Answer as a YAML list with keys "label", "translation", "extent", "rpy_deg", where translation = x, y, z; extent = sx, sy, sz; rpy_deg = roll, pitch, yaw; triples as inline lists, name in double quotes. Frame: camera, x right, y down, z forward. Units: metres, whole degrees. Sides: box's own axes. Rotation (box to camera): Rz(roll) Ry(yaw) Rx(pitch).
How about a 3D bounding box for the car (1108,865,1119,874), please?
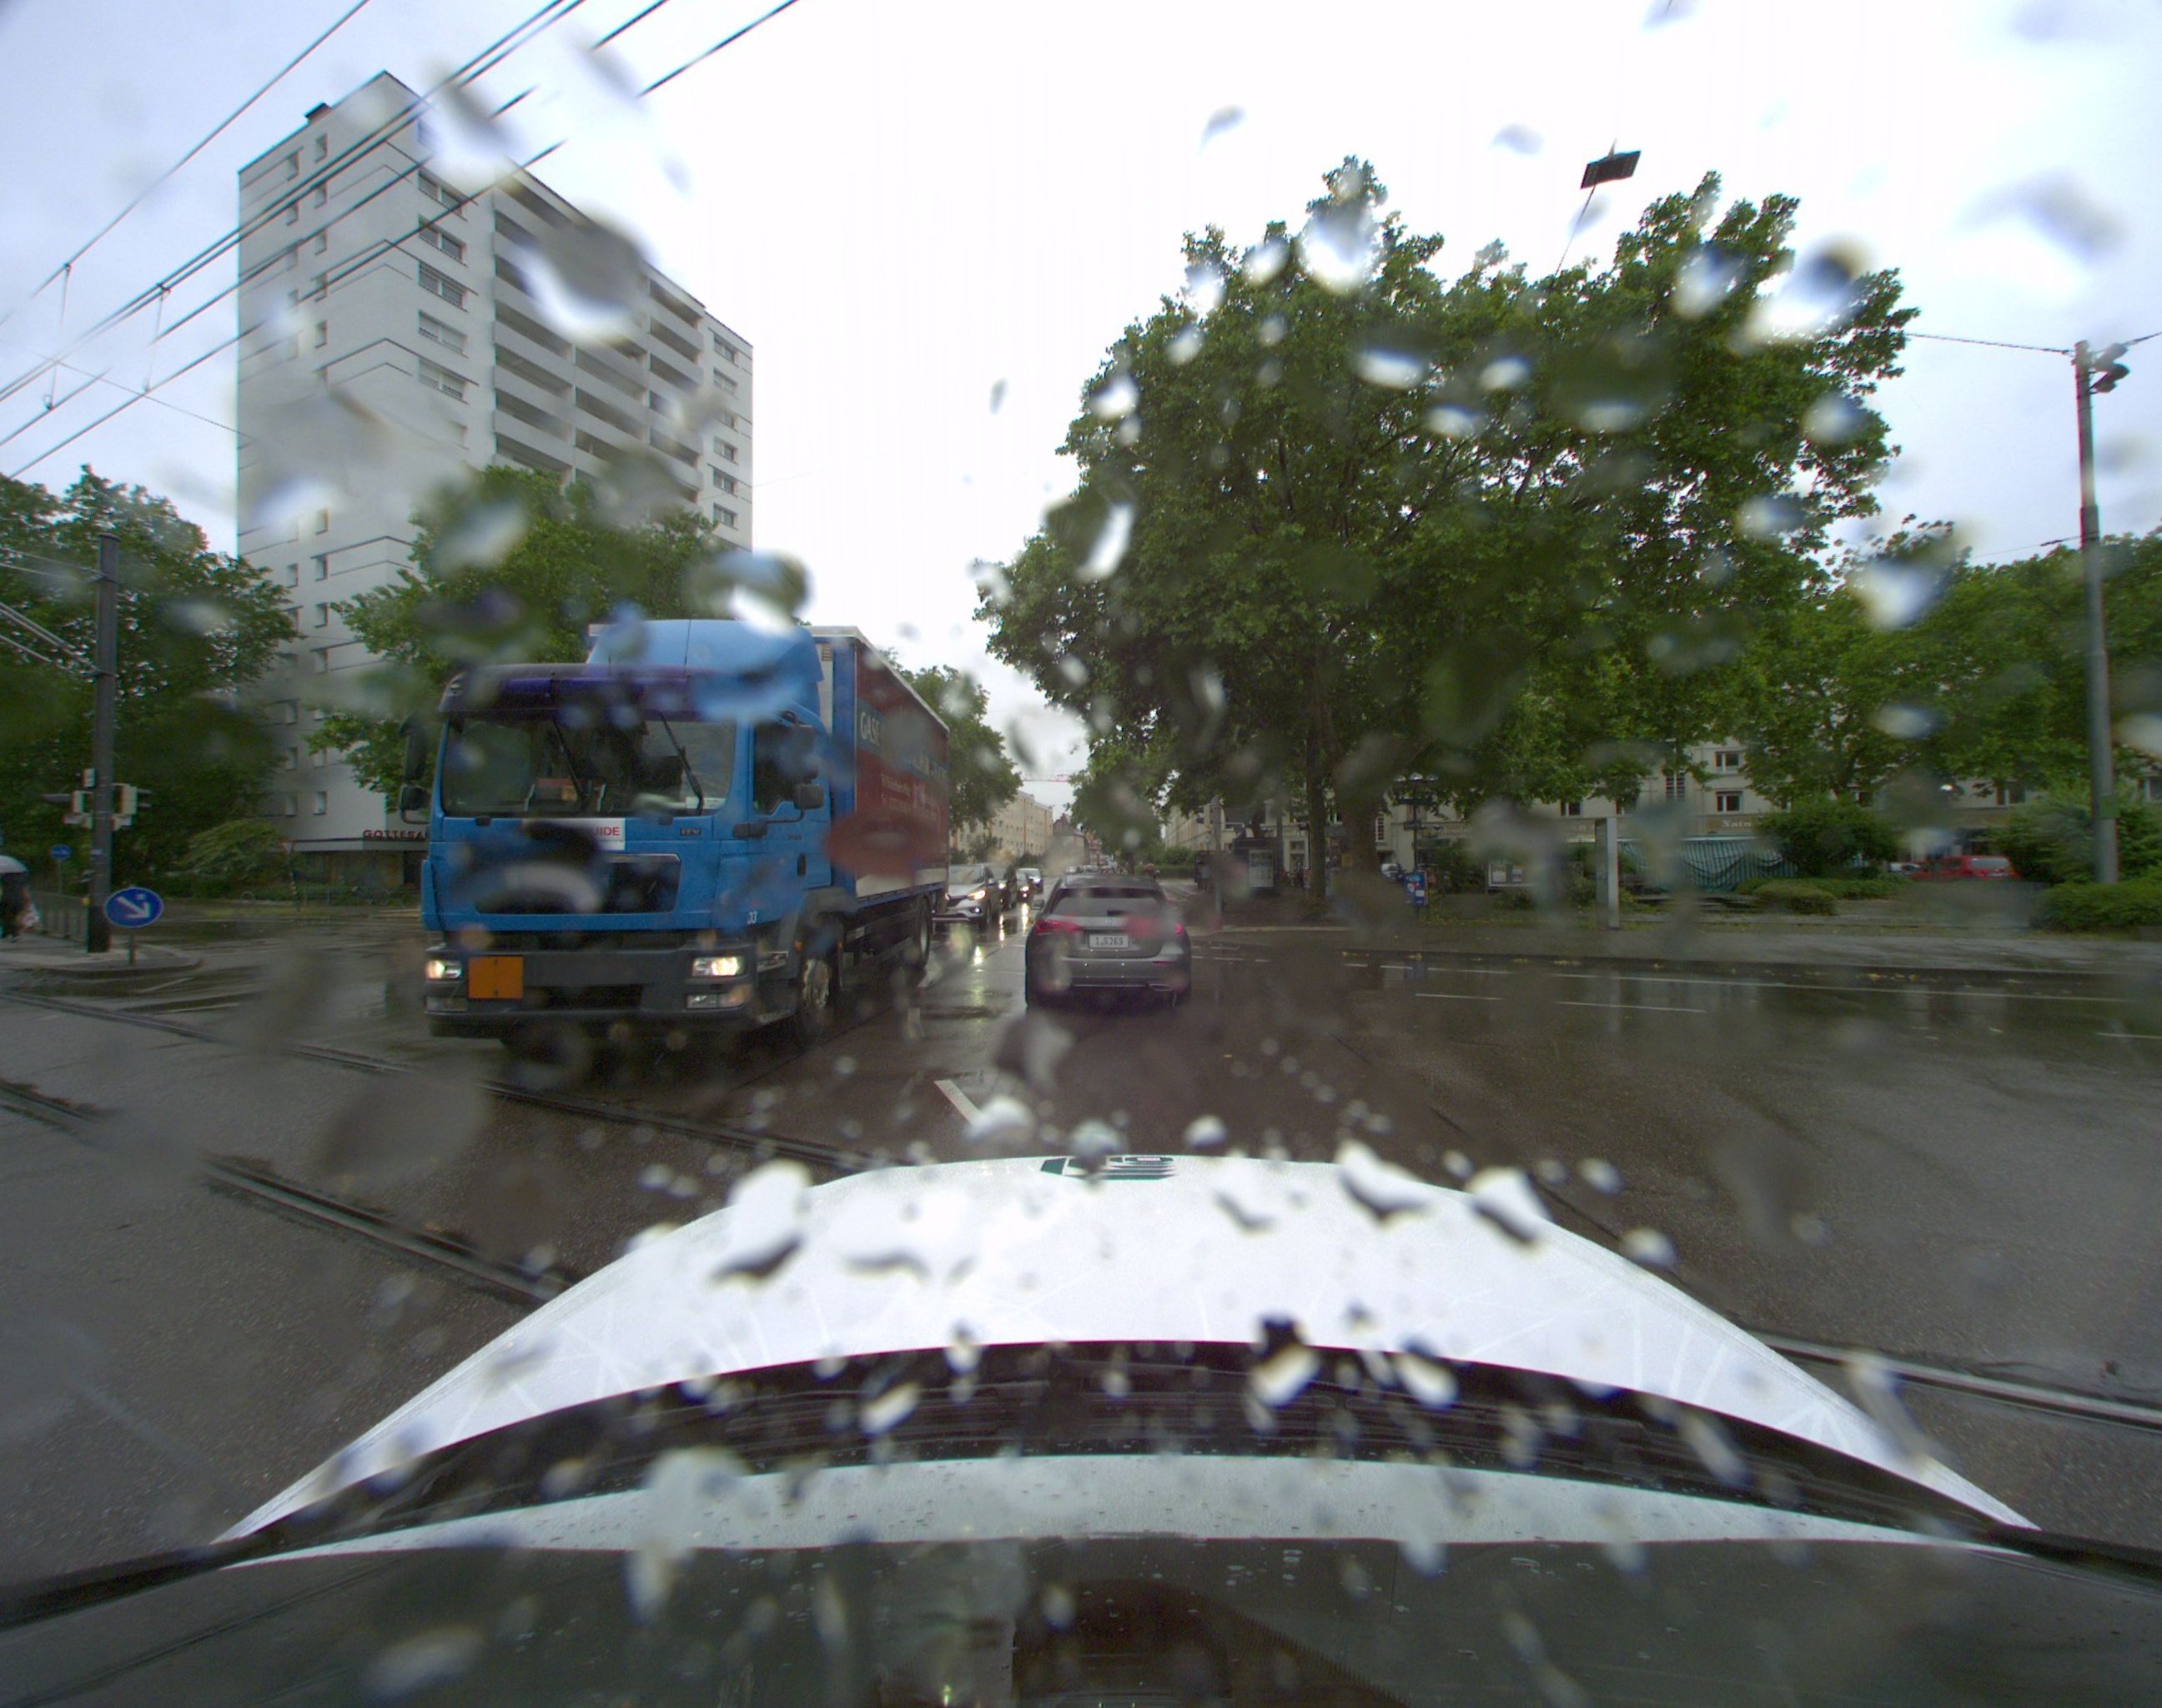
- label: "car"
  translation: [6.738, 3.106, 166.988]
  extent: [2.037, 1.836, 4.797]
  rpy_deg: [-1, -1, 4]

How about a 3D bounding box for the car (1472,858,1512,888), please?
- label: "car"
  translation: [26.520, 1.248, 52.673]
  extent: [2.135, 1.838, 4.022]
  rpy_deg: [-1, -3, 25]

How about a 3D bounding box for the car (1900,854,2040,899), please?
- label: "car"
  translation: [31.761, 0.795, 29.237]
  extent: [1.650, 1.522, 3.693]
  rpy_deg: [-1, -1, 15]

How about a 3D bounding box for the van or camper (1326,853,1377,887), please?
- label: "van or camper"
  translation: [18.666, 1.084, 56.021]
  extent: [2.374, 2.231, 5.462]
  rpy_deg: [-1, -1, 28]

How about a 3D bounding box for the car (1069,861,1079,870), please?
- label: "car"
  translation: [-1.529, 2.508, 174.547]
  extent: [1.881, 1.836, 4.004]
  rpy_deg: [-1, -1, 4]

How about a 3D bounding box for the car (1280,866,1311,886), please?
- label: "car"
  translation: [15.120, 1.563, 57.355]
  extent: [1.568, 1.337, 3.279]
  rpy_deg: [-1, -3, 24]

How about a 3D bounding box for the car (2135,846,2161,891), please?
- label: "car"
  translation: [54.421, 0.700, 39.939]
  extent: [1.535, 2.204, 4.121]
  rpy_deg: [-1, -3, 25]

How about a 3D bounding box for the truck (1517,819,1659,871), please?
- label: "truck"
  translation: [27.945, -0.416, 45.223]
  extent: [6.325, 2.700, 2.279]
  rpy_deg: [-1, -2, 21]

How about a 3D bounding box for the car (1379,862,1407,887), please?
- label: "car"
  translation: [20.999, 1.390, 54.864]
  extent: [1.665, 1.575, 3.754]
  rpy_deg: [-1, -2, 21]

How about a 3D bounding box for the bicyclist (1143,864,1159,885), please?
- label: "bicyclist"
  translation: [6.222, 1.841, 72.373]
  extent: [0.941, 1.868, 1.135]
  rpy_deg: [0, -3, -18]

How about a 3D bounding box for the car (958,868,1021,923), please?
- label: "car"
  translation: [-3.309, 1.462, 30.106]
  extent: [1.800, 1.862, 4.109]
  rpy_deg: [0, -1, 1]

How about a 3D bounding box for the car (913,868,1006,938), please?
- label: "car"
  translation: [-3.007, 1.159, 20.894]
  extent: [1.736, 1.604, 4.000]
  rpy_deg: [0, -1, 1]

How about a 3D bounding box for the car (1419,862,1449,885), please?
- label: "car"
  translation: [23.543, 1.328, 54.240]
  extent: [1.664, 1.432, 3.757]
  rpy_deg: [-1, -3, 26]

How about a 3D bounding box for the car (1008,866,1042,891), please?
- label: "car"
  translation: [-3.463, 1.517, 50.921]
  extent: [1.840, 1.510, 4.053]
  rpy_deg: [0, -1, -1]

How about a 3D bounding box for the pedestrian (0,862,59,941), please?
- label: "pedestrian"
  translation: [-22.832, 1.001, 17.560]
  extent: [0.807, 1.648, 0.798]
  rpy_deg: [-2, -1, 23]

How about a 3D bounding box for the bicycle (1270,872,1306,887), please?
- label: "bicycle"
  translation: [13.801, 1.702, 54.269]
  extent: [2.226, 0.968, 0.588]
  rpy_deg: [-1, -1, 23]

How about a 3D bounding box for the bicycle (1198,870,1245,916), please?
- label: "bicycle"
  translation: [4.580, 1.229, 26.383]
  extent: [0.742, 1.377, 2.723]
  rpy_deg: [-2, -1, 25]

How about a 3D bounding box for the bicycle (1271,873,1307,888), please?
- label: "bicycle"
  translation: [13.620, 1.716, 53.421]
  extent: [2.232, 0.968, 0.537]
  rpy_deg: [-1, -1, 23]

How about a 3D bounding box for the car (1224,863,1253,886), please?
- label: "car"
  translation: [11.337, 1.531, 58.478]
  extent: [1.675, 1.551, 3.536]
  rpy_deg: [-1, -3, 16]

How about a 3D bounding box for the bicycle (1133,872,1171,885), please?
- label: "bicycle"
  translation: [6.297, 2.154, 72.426]
  extent: [3.215, 1.112, 1.047]
  rpy_deg: [0, -3, -19]

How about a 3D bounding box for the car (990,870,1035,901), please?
- label: "car"
  translation: [-3.258, 1.497, 39.342]
  extent: [1.736, 1.390, 4.362]
  rpy_deg: [1, -2, 1]

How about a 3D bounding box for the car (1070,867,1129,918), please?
- label: "car"
  translation: [0.529, 1.101, 24.817]
  extent: [1.602, 1.372, 3.999]
  rpy_deg: [-1, -1, 0]

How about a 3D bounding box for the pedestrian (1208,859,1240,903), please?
- label: "pedestrian"
  translation: [4.700, 0.860, 26.654]
  extent: [0.737, 1.398, 1.053]
  rpy_deg: [-2, -1, 25]

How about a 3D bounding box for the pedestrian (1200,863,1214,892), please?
- label: "pedestrian"
  translation: [7.398, 1.375, 47.694]
  extent: [0.714, 1.669, 0.665]
  rpy_deg: [0, -1, -1]

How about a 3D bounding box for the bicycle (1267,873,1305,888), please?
- label: "bicycle"
  translation: [13.265, 1.728, 52.698]
  extent: [2.261, 0.983, 0.548]
  rpy_deg: [-1, -1, 23]

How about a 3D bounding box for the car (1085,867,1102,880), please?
- label: "car"
  translation: [1.535, 2.383, 99.009]
  extent: [1.988, 1.574, 3.998]
  rpy_deg: [-1, -1, -1]

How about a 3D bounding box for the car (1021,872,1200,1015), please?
- label: "car"
  translation: [0.314, 0.943, 9.952]
  extent: [1.785, 1.372, 3.506]
  rpy_deg: [1, -1, 0]

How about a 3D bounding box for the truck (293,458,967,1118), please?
- label: "truck"
  translation: [-3.496, -0.371, 10.168]
  extent: [2.838, 4.025, 10.309]
  rpy_deg: [-1, -1, -1]
